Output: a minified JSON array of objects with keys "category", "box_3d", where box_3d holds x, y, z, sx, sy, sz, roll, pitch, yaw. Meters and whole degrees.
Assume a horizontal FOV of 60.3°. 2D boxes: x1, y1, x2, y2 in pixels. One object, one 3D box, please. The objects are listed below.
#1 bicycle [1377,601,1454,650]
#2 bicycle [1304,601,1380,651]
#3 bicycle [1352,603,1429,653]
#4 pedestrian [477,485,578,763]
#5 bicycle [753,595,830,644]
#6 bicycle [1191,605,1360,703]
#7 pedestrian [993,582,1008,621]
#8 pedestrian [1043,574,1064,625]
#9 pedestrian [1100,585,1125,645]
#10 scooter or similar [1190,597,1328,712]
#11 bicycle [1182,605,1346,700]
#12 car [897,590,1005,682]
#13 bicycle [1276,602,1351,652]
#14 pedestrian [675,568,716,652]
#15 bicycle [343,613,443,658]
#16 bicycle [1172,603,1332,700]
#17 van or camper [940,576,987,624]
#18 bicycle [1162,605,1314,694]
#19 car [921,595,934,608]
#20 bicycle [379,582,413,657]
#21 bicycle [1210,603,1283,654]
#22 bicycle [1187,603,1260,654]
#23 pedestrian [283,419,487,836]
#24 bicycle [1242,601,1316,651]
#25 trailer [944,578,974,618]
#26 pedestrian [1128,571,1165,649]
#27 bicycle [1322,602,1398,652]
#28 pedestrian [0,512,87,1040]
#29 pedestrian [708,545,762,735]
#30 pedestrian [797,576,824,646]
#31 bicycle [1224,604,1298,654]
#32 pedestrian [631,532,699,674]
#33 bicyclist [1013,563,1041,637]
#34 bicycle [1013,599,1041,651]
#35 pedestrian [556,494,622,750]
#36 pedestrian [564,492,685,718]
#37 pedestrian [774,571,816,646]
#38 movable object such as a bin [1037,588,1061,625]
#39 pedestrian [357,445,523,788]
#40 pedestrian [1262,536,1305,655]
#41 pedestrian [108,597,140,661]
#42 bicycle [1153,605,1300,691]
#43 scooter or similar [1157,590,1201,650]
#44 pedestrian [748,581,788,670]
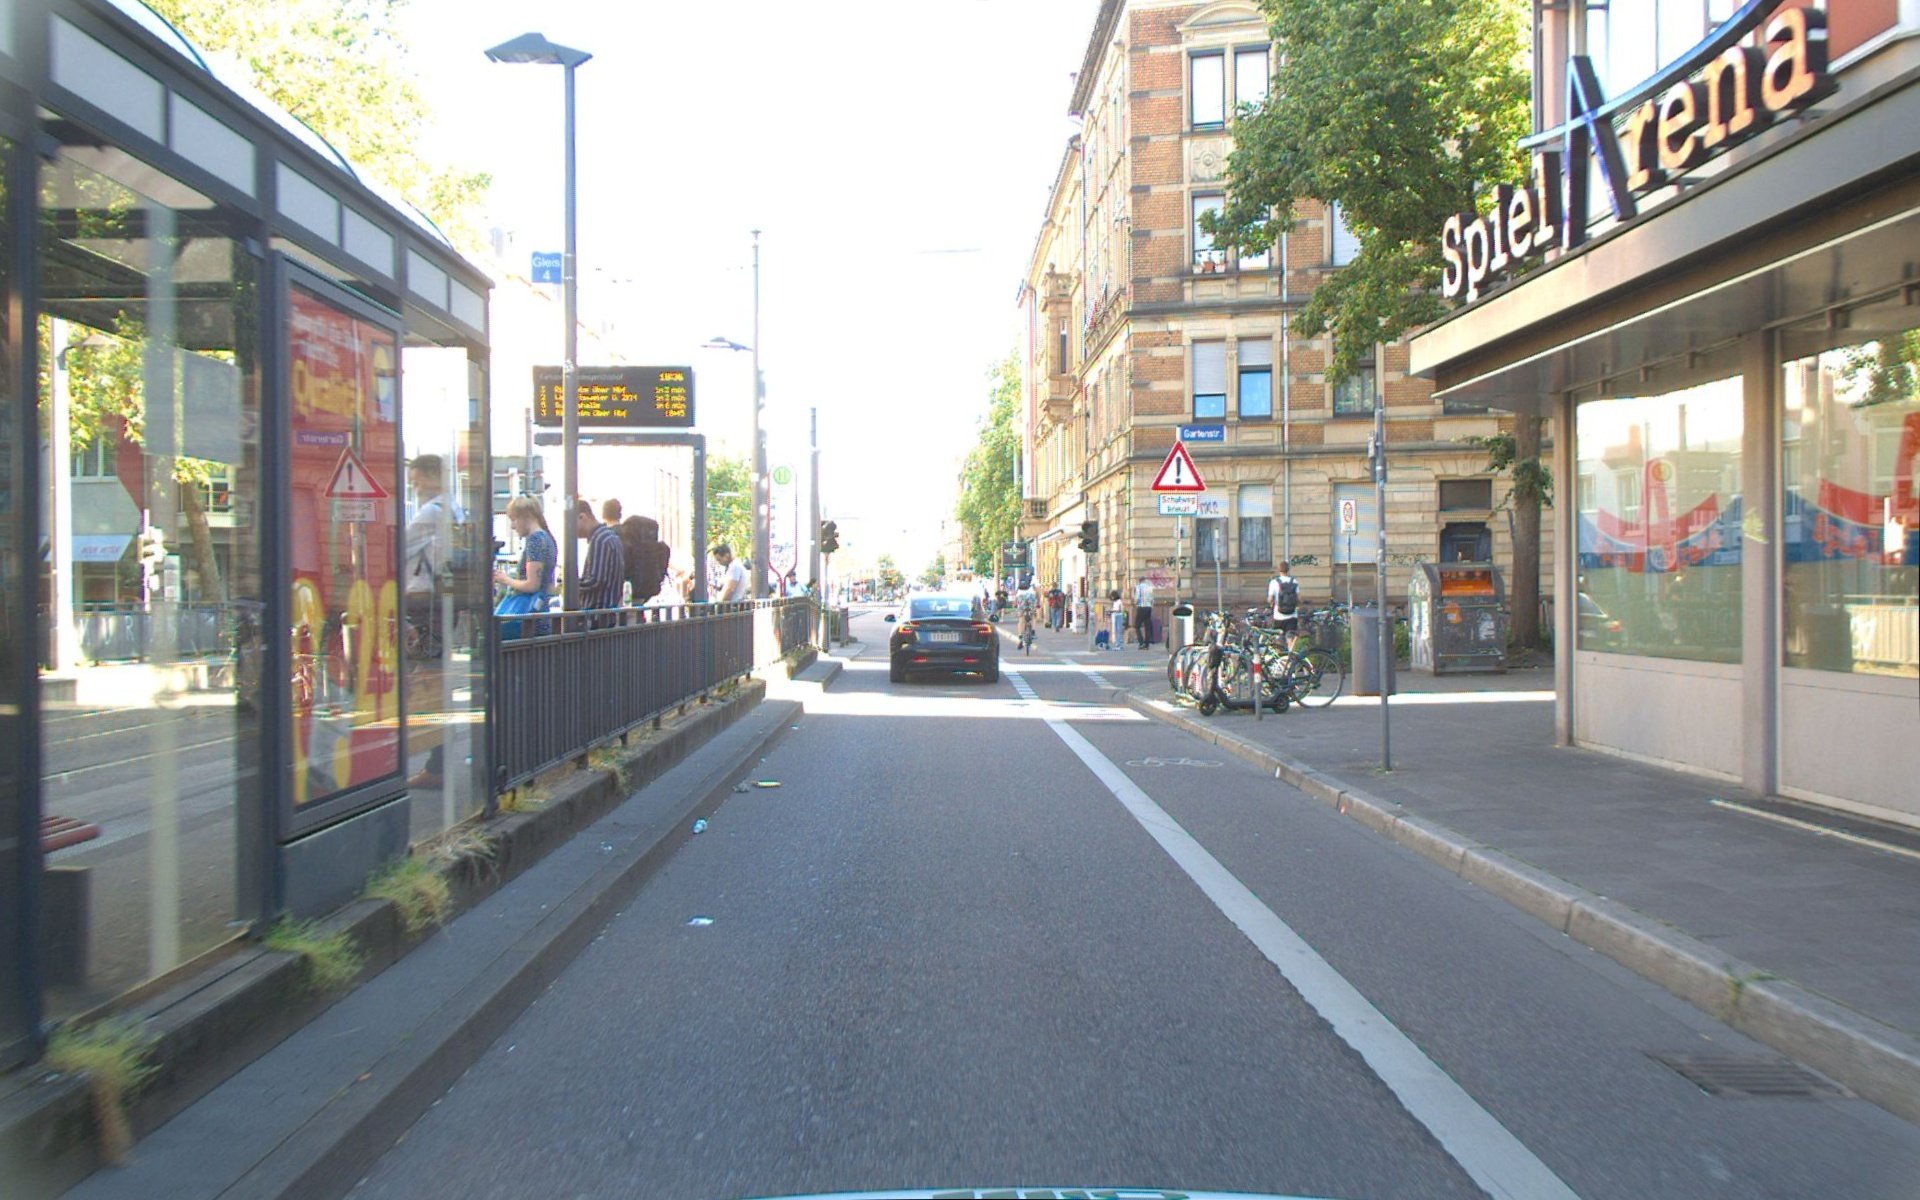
[{"category":"bicycle","box_3d":[10.634,0.583,38.686,0.440,1.134,1.787,-1,0,-42]},{"category":"bicycle","box_3d":[8.860,0.600,38.396,0.440,1.134,1.787,-1,0,-42]},{"category":"bicycle","box_3d":[10.043,0.646,38.636,0.440,1.134,1.787,-1,0,-42]},{"category":"pedestrian","box_3d":[-2.682,0.142,10.297,0.483,1.677,0.589,0,0,-3]},{"category":"bicycle","box_3d":[-4.194,0.490,41.073,1.904,1.113,0.597,3,0,32]},{"category":"bicycle","box_3d":[3.790,0.636,19.922,1.907,1.126,0.564,-1,0,-4]},{"category":"pedestrian","box_3d":[1.911,0.062,78.830,0.659,1.846,0.755,0,-1,-3]},{"category":"pedestrian","box_3d":[3.242,-0.023,57.140,0.461,1.758,0.586,0,1,34]},{"category":"pedestrian","box_3d":[3.710,0.353,40.288,0.562,1.439,0.581,1,0,7]},{"category":"scooter or similar","box_3d":[3.468,0.623,19.256,1.449,1.250,0.591,-2,0,-1]},{"category":"bicycle","box_3d":[3.762,0.640,20.535,1.907,1.126,0.564,-1,0,-4]},{"category":"car","box_3d":[-0.212,0.558,27.986,1.685,1.430,3.708,1,0,-2]},{"category":"bicycle","box_3d":[8.175,0.611,38.316,0.440,1.134,1.787,-1,0,-42]},{"category":"pedestrian","box_3d":[-5.392,0.195,33.745,0.682,1.697,1.033,0,0,-1]},{"category":"bicycle","box_3d":[-13.367,0.830,39.044,2.151,0.983,0.638,-1,0,-42]},{"category":"bicycle","box_3d":[3.727,0.646,21.189,1.907,1.186,0.627,-1,0,-4]},{"category":"van or camper","box_3d":[0.113,0.032,75.548,1.892,2.072,5.473,1,-1,-2]},{"category":"bicycle","box_3d":[3.678,0.645,21.948,1.907,1.126,0.564,-1,0,-4]},{"category":"car","box_3d":[-3.874,0.173,196.911,1.561,1.458,3.685,-1,0,-1]},{"category":"bicycle","box_3d":[-13.338,0.450,39.107,0.577,1.746,0.639,-1,0,-38]},{"category":"bicycle","box_3d":[6.567,0.649,37.958,0.440,1.134,1.787,-1,0,-41]},{"category":"bicycle","box_3d":[6.024,0.638,37.849,0.440,1.134,1.787,-1,0,-41]},{"category":"pedestrian","box_3d":[-2.583,0.113,7.500,0.676,1.796,0.747,0,0,-3]},{"category":"bicycle","box_3d":[7.399,0.593,38.444,0.440,1.134,1.787,-1,0,-42]},{"category":"trailer","box_3d":[-0.047,-0.126,92.956,1.627,2.154,3.842,1,0,0]},{"category":"pedestrian","box_3d":[4.496,0.236,39.858,0.829,1.839,0.876,-1,1,3]},{"category":"bicycle","box_3d":[9.336,0.611,38.637,0.440,1.134,1.787,-1,0,-42]},{"category":"pedestrian","box_3d":[-2.583,0.423,4.146,0.529,1.274,0.460,1,0,-3]},{"category":"pedestrian","box_3d":[-2.611,0.455,19.264,0.527,2.157,0.807,-1,0,-2]},{"category":"pedestrian","box_3d":[-3.527,0.248,38.974,0.508,1.618,0.665,3,0,-11]},{"category":"bicycle","box_3d":[6.947,0.657,38.230,0.440,1.134,1.787,-1,0,-42]},{"category":"pedestrian","box_3d":[-3.727,0.037,20.920,0.747,1.765,0.589,0,0,-2]},{"category":"bicyclist","box_3d":[1.566,-0.002,38.602,0.641,1.684,0.927,0,0,2]},{"category":"bicycle","box_3d":[1.571,0.566,38.680,0.634,1.159,2.096,0,0,2]},{"category":"pedestrian","box_3d":[-2.524,0.144,11.280,0.344,1.698,0.529,0,0,-3]},{"category":"pedestrian","box_3d":[-2.876,0.048,14.146,0.762,1.863,0.795,1,-1,-32]},{"category":"pedestrian","box_3d":[-4.097,0.209,41.087,0.582,1.853,0.940,1,0,31]},{"category":"movable object such as a bin","box_3d":[3.338,0.254,62.137,0.760,1.371,1.298,0,0,-3]},{"category":"pedestrian","box_3d":[-2.803,0.080,8.978,0.676,1.782,0.747,0,0,-3]},{"category":"pedestrian","box_3d":[5.613,-0.061,28.714,0.700,2.019,0.944,0,-2,10]},{"category":"pedestrian","box_3d":[-21.966,0.751,43.457,0.683,1.665,0.668,-1,0,-35]},{"category":"bicycle","box_3d":[3.632,0.646,22.594,1.907,1.126,0.564,-1,0,-4]},{"category":"scooter or similar","box_3d":[4.948,0.439,37.464,0.384,1.311,1.515,-1,0,-17]},{"category":"pedestrian","box_3d":[-2.951,0.387,25.375,0.470,1.352,0.354,-1,0,28]}]
